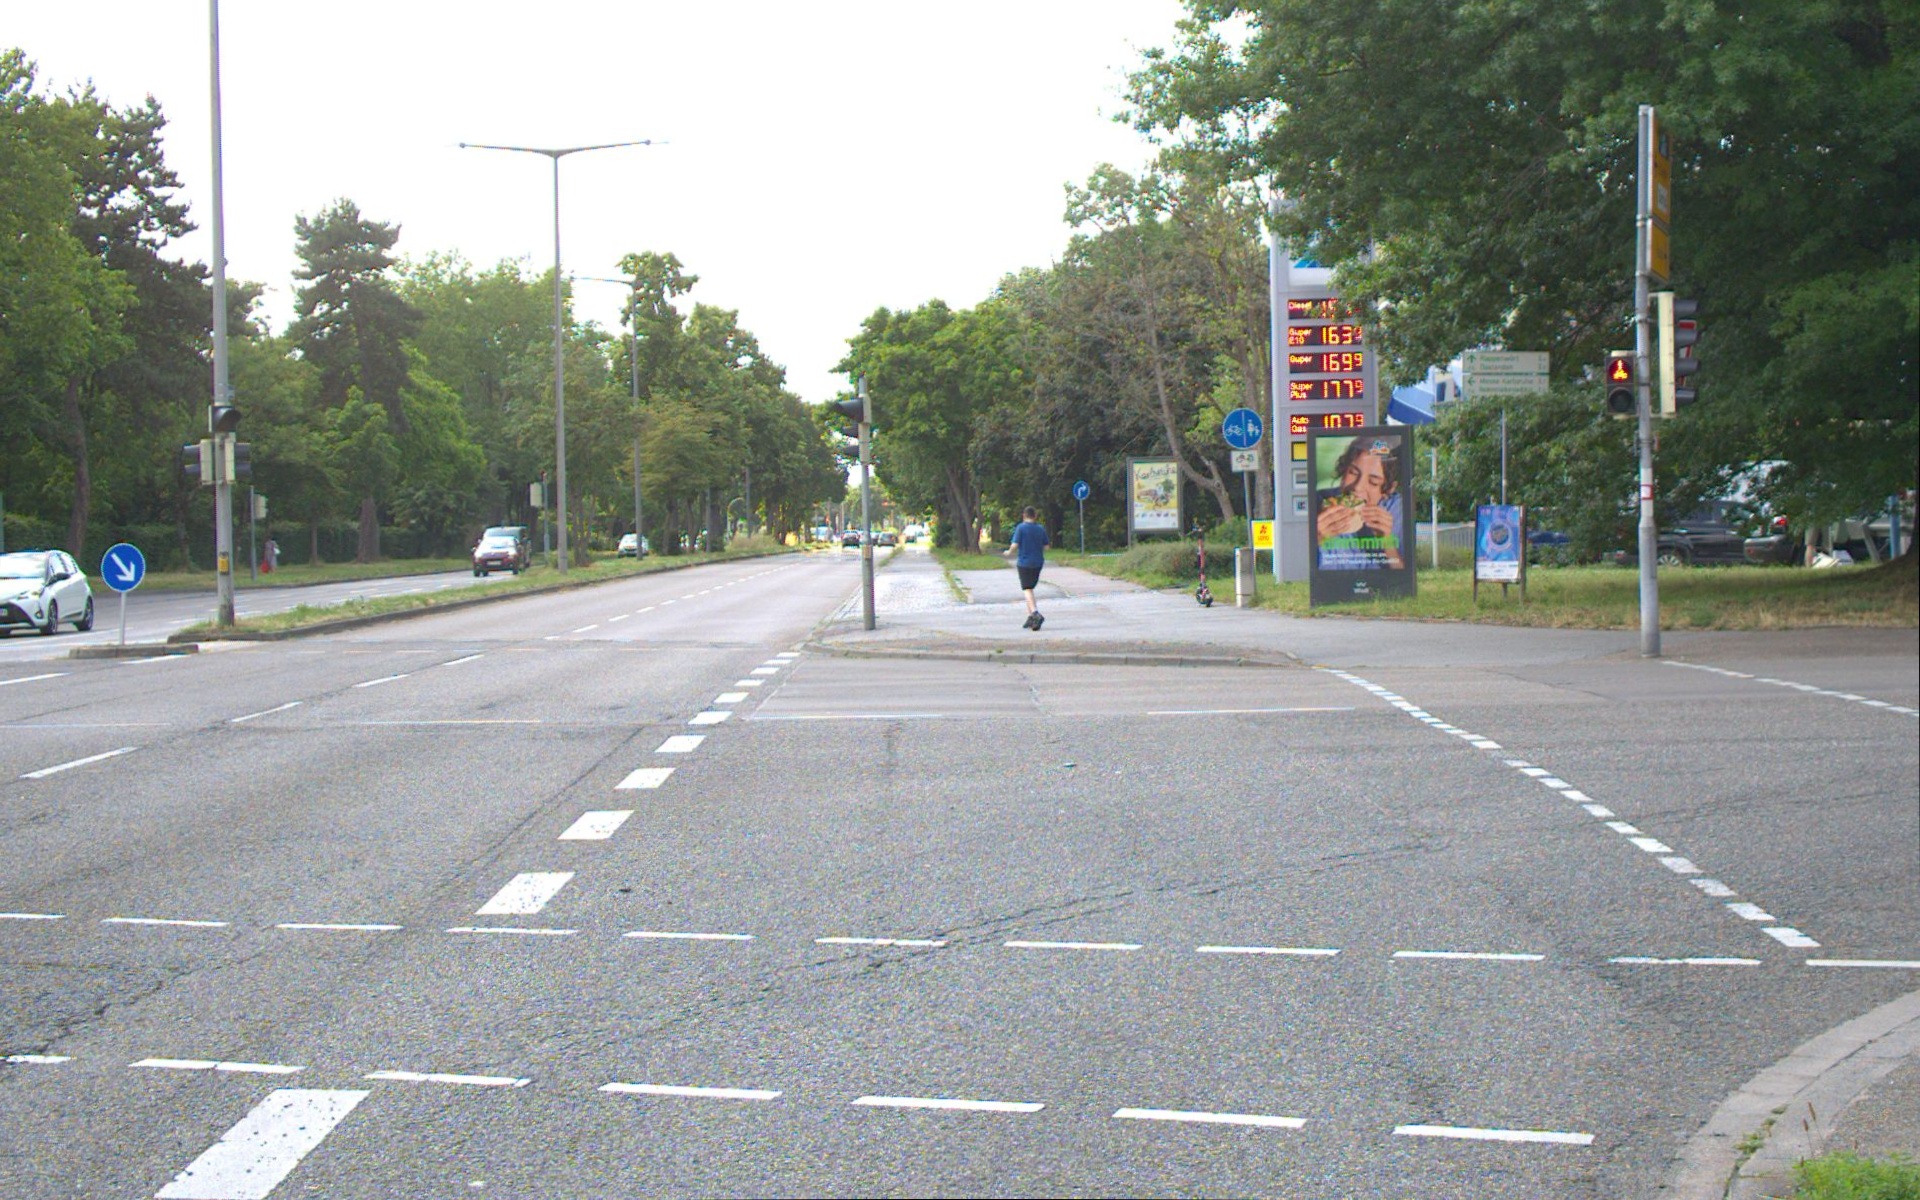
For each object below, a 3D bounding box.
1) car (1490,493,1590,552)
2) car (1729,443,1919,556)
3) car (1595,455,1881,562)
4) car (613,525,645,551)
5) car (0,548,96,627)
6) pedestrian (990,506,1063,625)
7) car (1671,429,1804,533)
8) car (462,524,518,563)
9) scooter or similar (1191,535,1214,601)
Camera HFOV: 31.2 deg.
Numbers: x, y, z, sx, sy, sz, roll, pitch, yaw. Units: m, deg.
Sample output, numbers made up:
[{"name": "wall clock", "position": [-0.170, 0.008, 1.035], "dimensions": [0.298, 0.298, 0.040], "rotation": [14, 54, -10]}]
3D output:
[{"name": "car", "position": [14.804, -1.978, 87.863], "dimensions": [1.750, 1.449, 3.741], "rotation": [-1, 1, -2]}, {"name": "car", "position": [15.914, -1.724, 58.225], "dimensions": [5.179, 1.820, 2.154], "rotation": [-2, 1, -11]}, {"name": "car", "position": [15.619, -1.832, 69.158], "dimensions": [5.180, 1.997, 2.154], "rotation": [-1, 1, -4]}, {"name": "car", "position": [-22.618, -4.241, 235.043], "dimensions": [1.860, 1.699, 4.456], "rotation": [-1, 1, -2]}, {"name": "car", "position": [-16.352, -0.212, 59.743], "dimensions": [1.752, 1.303, 3.694], "rotation": [-3, 1, -1]}, {"name": "pedestrian", "position": [0.868, -0.453, 45.036], "dimensions": [0.725, 1.526, 0.760], "rotation": [-2, 1, -17]}, {"name": "car", "position": [19.155, -2.891, 84.945], "dimensions": [1.750, 2.445, 5.751], "rotation": [-1, 1, -2]}, {"name": "car", "position": [-18.130, -2.190, 132.831], "dimensions": [1.771, 1.460, 4.456], "rotation": [-1, 1, -3]}, {"name": "scooter or similar", "position": [3.655, -0.482, 51.920], "dimensions": [0.221, 0.976, 1.272], "rotation": [-1, 1, 0]}]
